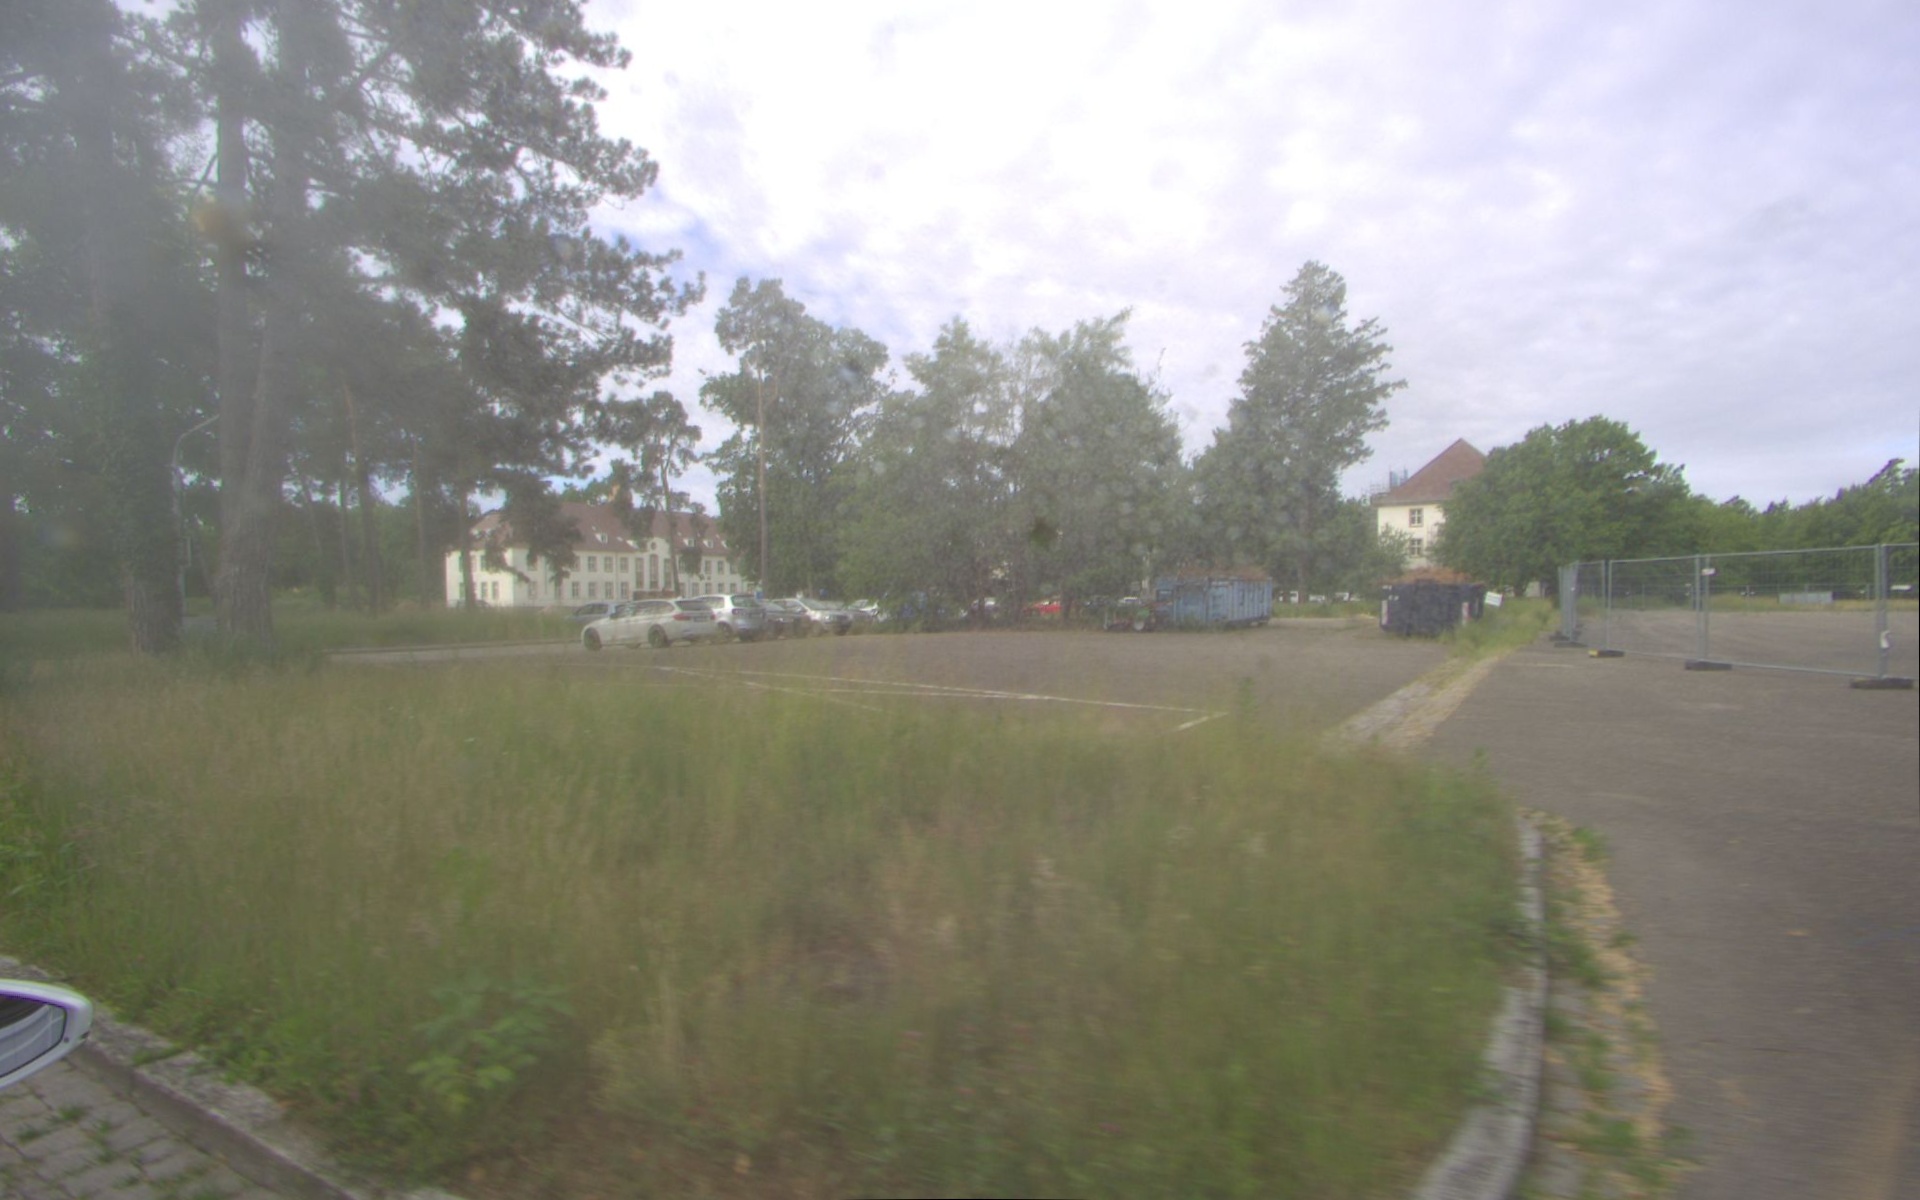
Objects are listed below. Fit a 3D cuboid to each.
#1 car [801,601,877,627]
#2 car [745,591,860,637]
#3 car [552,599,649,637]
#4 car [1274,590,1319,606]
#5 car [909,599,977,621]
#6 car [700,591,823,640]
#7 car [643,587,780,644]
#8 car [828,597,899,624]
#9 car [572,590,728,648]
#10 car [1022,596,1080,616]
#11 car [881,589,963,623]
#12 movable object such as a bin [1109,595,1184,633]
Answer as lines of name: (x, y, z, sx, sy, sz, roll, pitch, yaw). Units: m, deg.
car: (-6.671, 0.736, 55.168, 4.190, 1.409, 1.727, 0, 0, 38)
car: (-5.918, 0.529, 37.408, 4.186, 1.504, 1.696, -3, -1, 34)
car: (-15.175, 0.705, 42.214, 4.184, 1.529, 1.729, 0, 0, 34)
car: (43.841, -0.264, 130.509, 5.222, 1.980, 2.079, -1, -1, 33)
car: (-1.090, 0.621, 64.384, 4.184, 1.409, 1.729, 0, 0, 34)
car: (-6.944, 0.537, 34.817, 4.186, 1.504, 1.696, -3, -1, 34)
car: (-8.067, 0.510, 32.419, 4.181, 1.626, 1.779, -3, -1, 29)
car: (-5.610, 0.598, 57.901, 4.190, 1.522, 1.610, 0, 0, 38)
car: (-9.351, 0.607, 30.108, 4.541, 1.505, 1.846, -3, -2, 29)
car: (7.138, 0.442, 78.551, 4.183, 1.542, 1.730, 0, 0, 33)
car: (-2.380, 0.347, 62.298, 4.724, 2.053, 2.131, 0, 0, 34)
movable object such as a bin: (5.844, 0.431, 31.358, 2.176, 1.149, 0.960, 0, -1, 23)
